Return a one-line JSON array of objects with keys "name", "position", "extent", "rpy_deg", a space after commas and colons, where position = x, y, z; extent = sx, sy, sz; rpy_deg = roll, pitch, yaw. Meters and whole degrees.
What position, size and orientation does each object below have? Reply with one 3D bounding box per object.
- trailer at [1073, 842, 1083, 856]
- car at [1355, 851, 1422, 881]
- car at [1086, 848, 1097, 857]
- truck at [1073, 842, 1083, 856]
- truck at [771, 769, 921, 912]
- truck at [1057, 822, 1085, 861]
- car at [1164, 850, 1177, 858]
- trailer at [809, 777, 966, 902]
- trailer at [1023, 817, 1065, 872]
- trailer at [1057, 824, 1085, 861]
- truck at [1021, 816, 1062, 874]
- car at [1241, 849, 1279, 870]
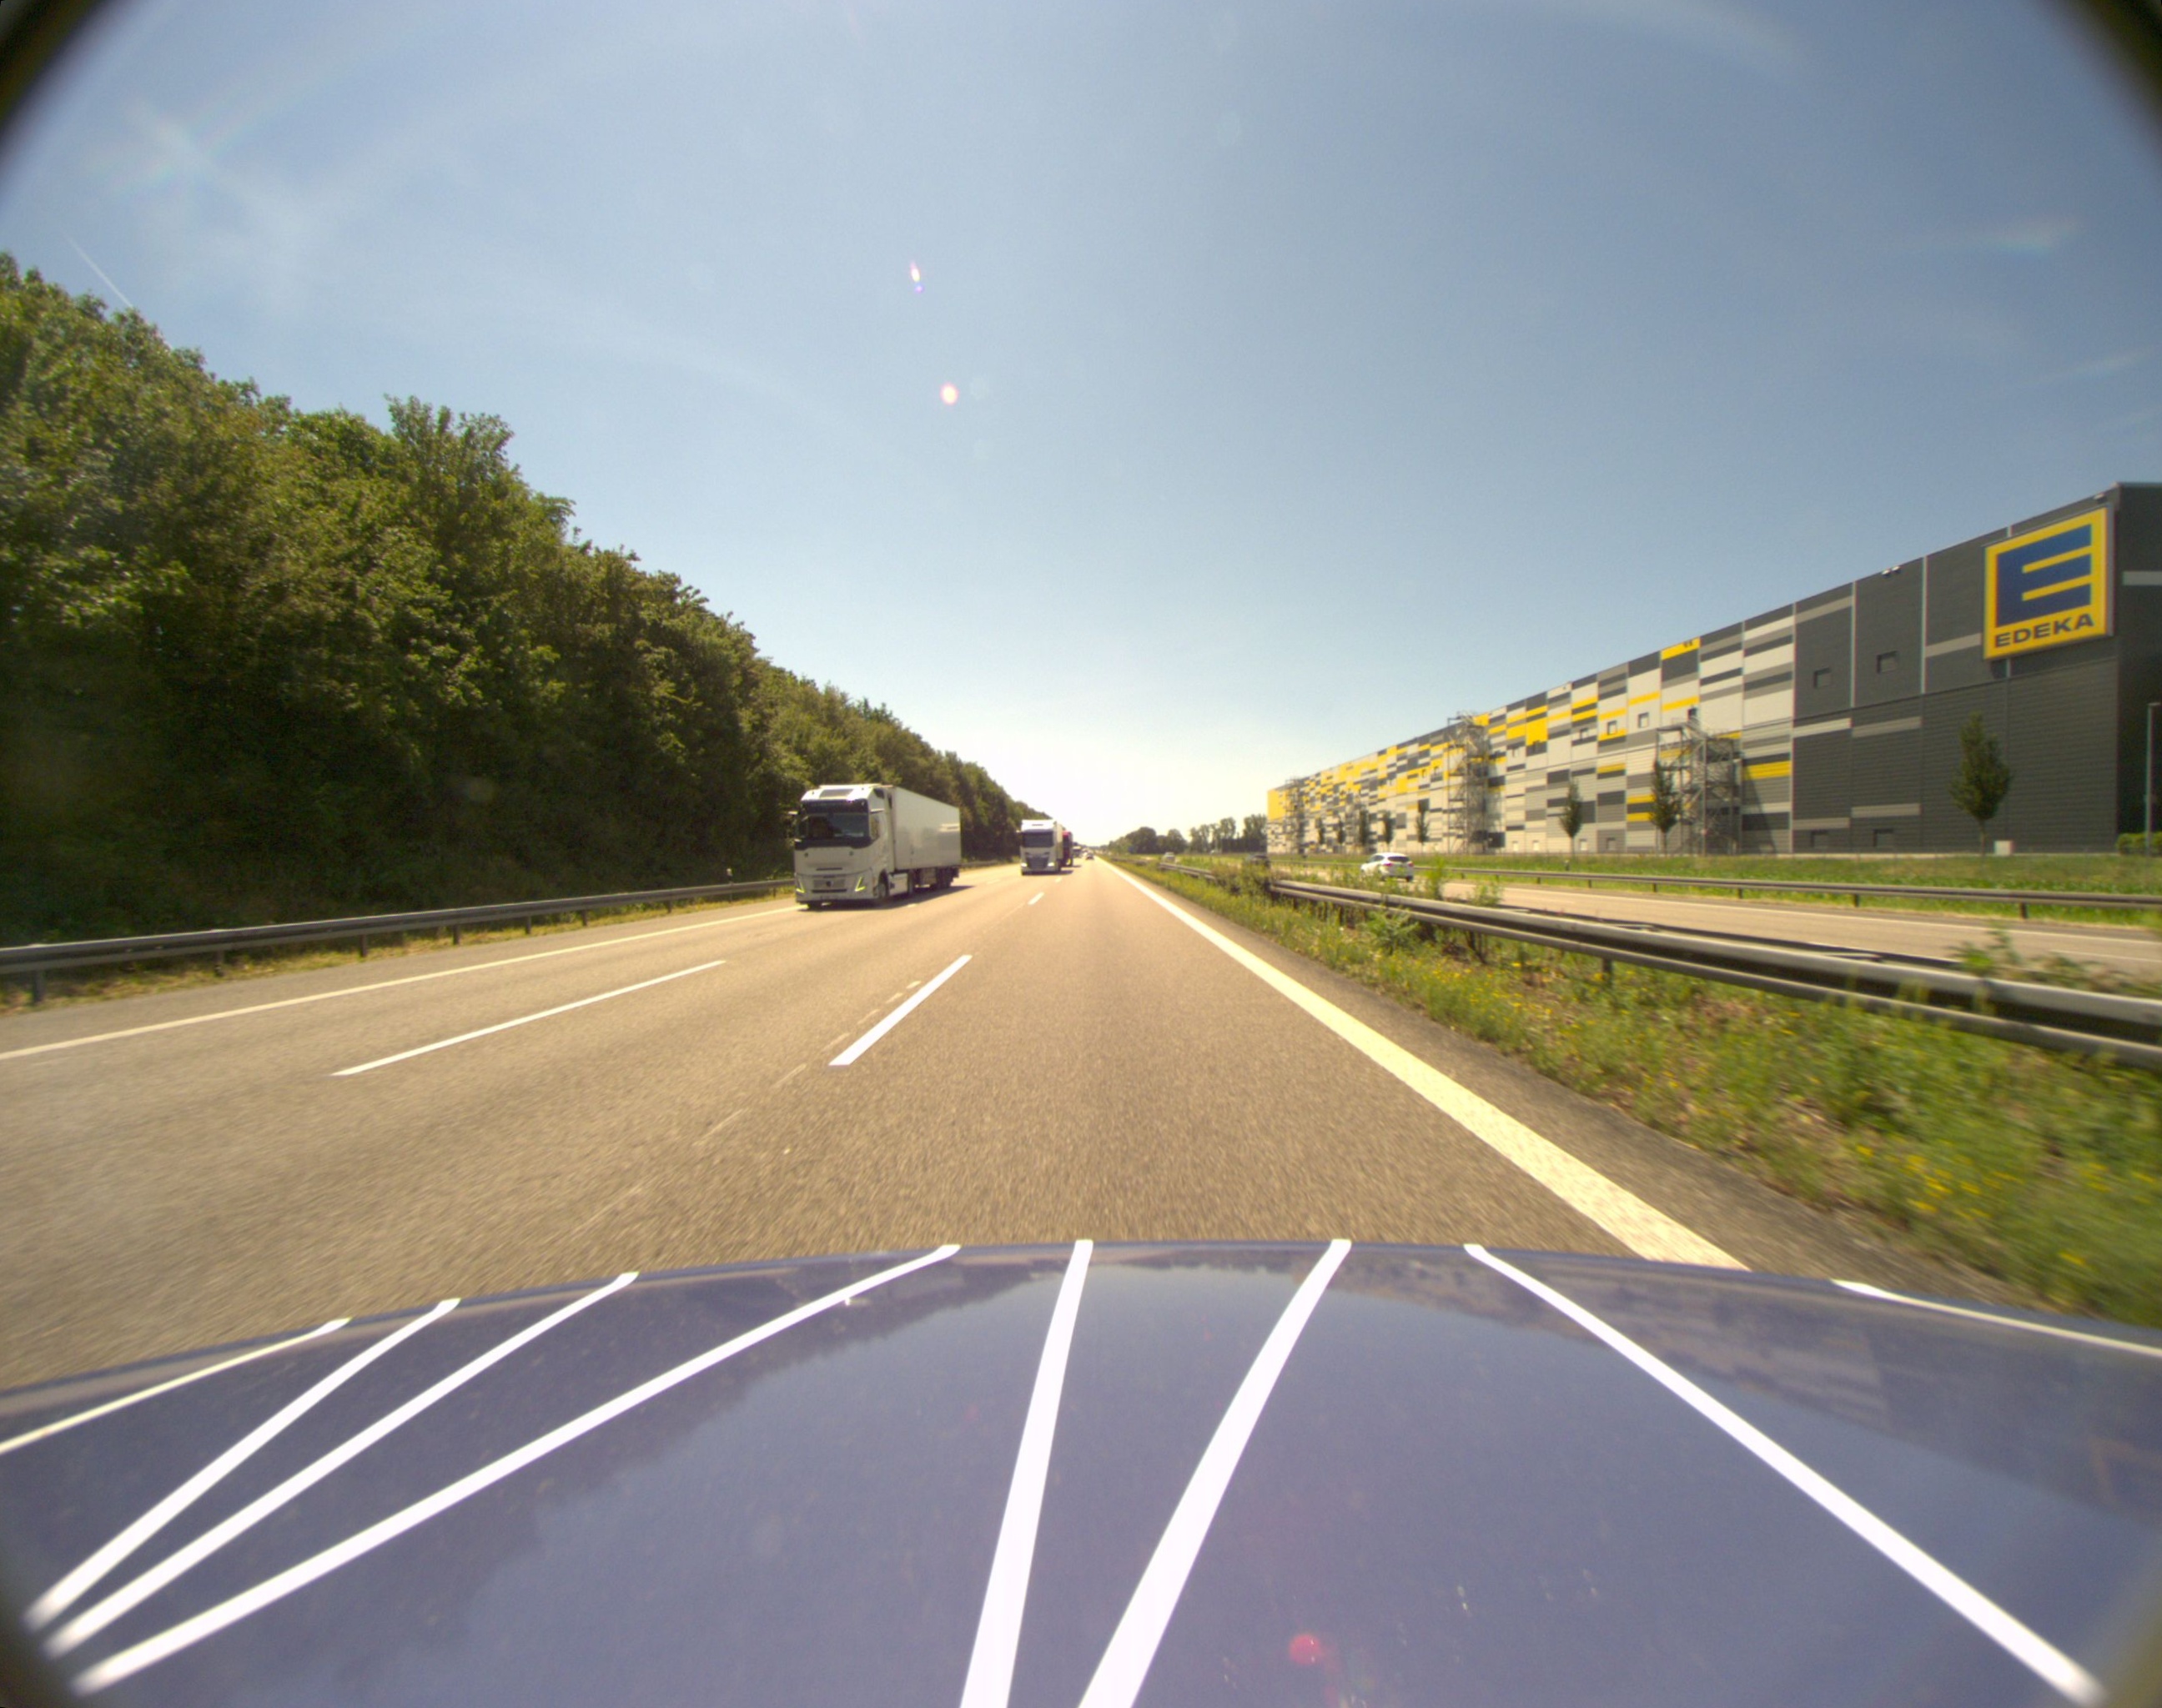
[{"name": "trailer", "position": [-0.947, -1.565, 244.391], "extent": [3.005, 4.046, 13.834], "rpy_deg": [-2, 0, 0]}, {"name": "car", "position": [17.625, 0.650, 43.812], "extent": [1.904, 1.584, 4.742], "rpy_deg": [0, 1, 0]}, {"name": "car", "position": [2.205, -0.381, 161.814], "extent": [2.073, 1.959, 5.109], "rpy_deg": [0, 0, -1]}, {"name": "truck", "position": [-0.923, -1.548, 236.961], "extent": [2.998, 4.046, 5.771], "rpy_deg": [-2, 0, 0]}, {"name": "truck", "position": [-7.667, -0.419, 25.767], "extent": [3.055, 4.190, 6.048], "rpy_deg": [-2, 0, 0]}, {"name": "truck", "position": [-1.082, -1.325, 82.889], "extent": [2.870, 4.046, 5.770], "rpy_deg": [-2, 0, -1]}, {"name": "car", "position": [15.977, -0.038, 135.966], "extent": [1.812, 1.475, 4.416], "rpy_deg": [2, 0, 1]}, {"name": "trailer", "position": [-7.645, -0.530, 32.861], "extent": [3.047, 4.200, 13.834], "rpy_deg": [-2, 0, 0]}, {"name": "trailer", "position": [-2.906, -0.720, 63.877], "extent": [2.684, 4.046, 13.834], "rpy_deg": [-2, 0, 0]}, {"name": "trailer", "position": [-1.220, -1.332, 90.953], "extent": [2.885, 4.046, 13.833], "rpy_deg": [-2, 0, -1]}, {"name": "truck", "position": [-2.898, -0.678, 57.122], "extent": [2.684, 4.046, 6.048], "rpy_deg": [-2, 0, 0]}, {"name": "car", "position": [14.737, 0.426, 62.889], "extent": [1.904, 1.523, 5.032], "rpy_deg": [3, 1, 0]}]
